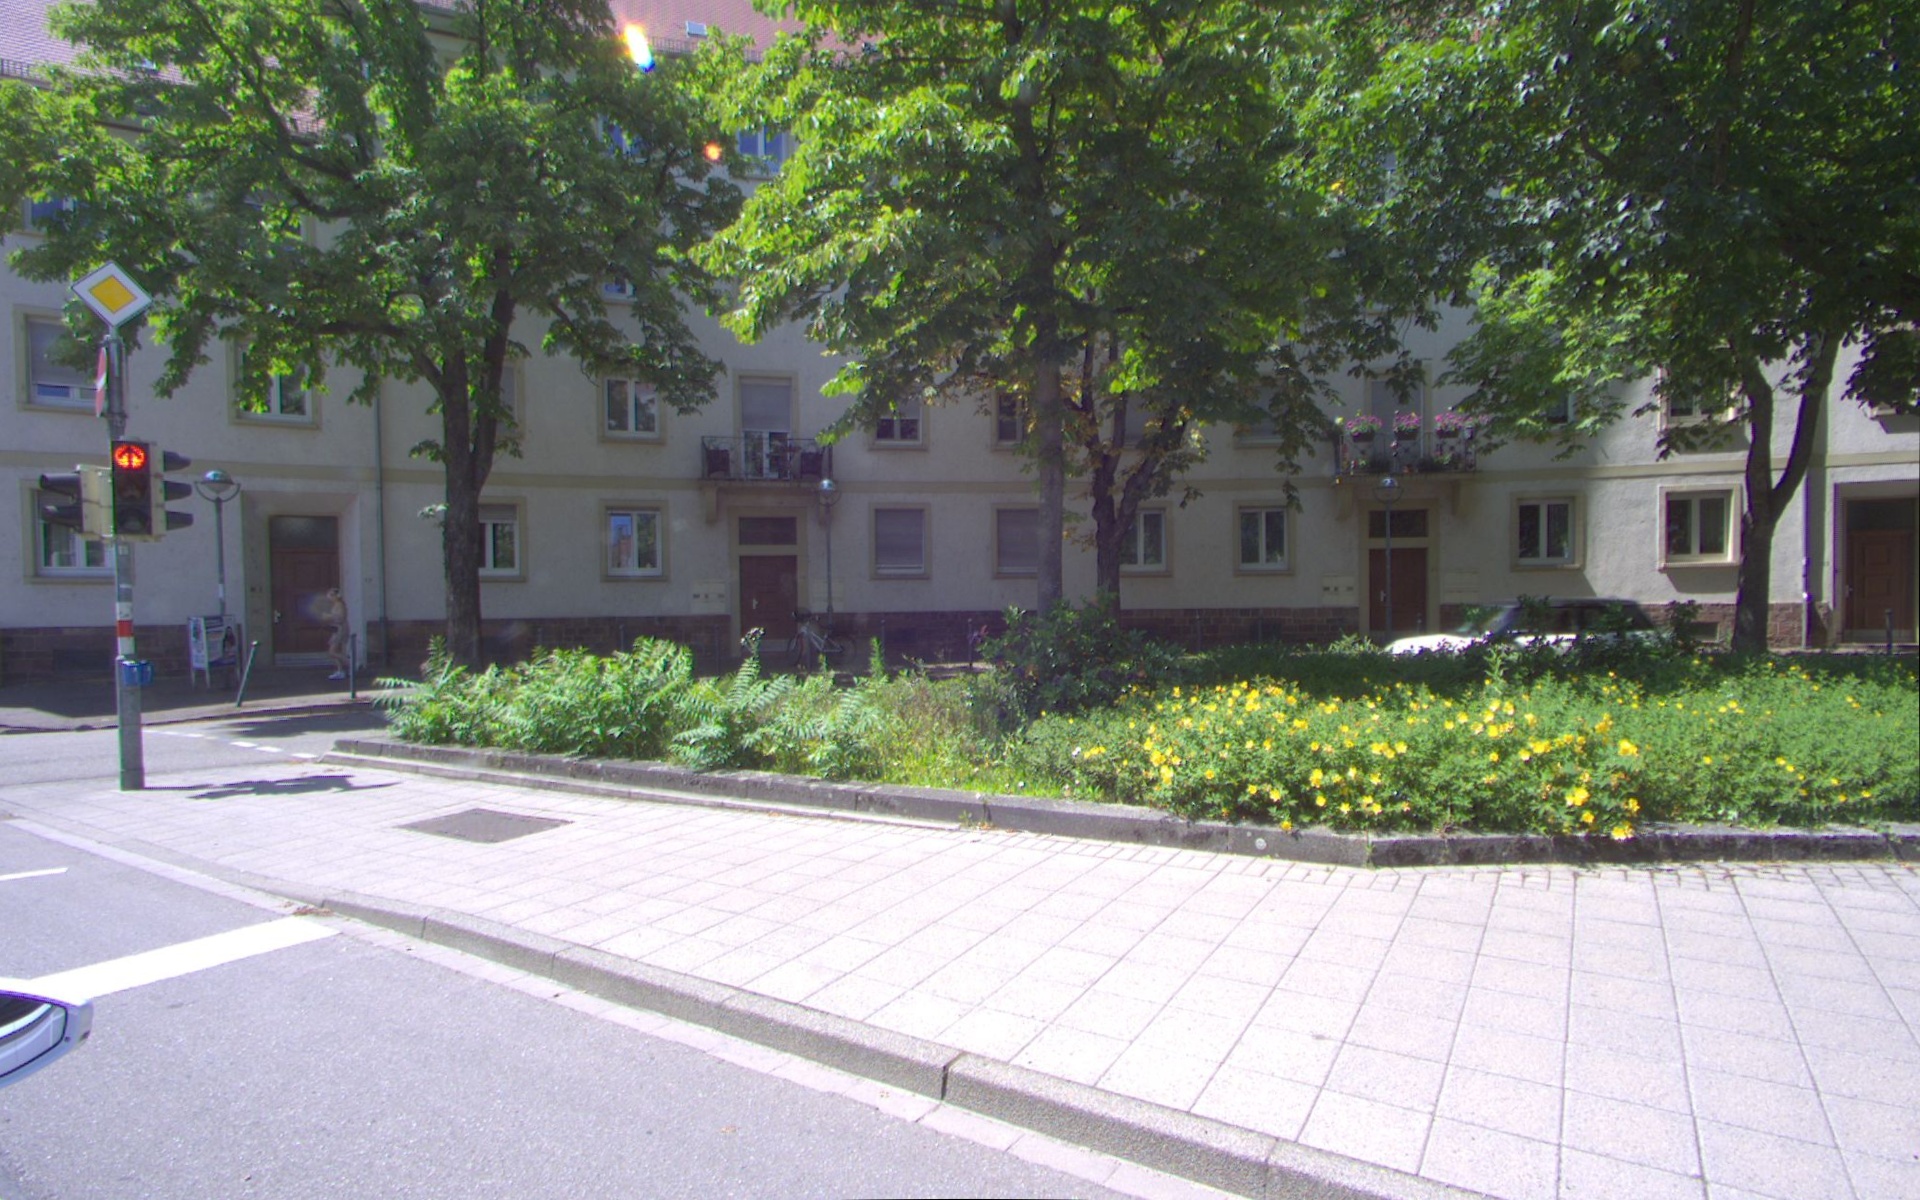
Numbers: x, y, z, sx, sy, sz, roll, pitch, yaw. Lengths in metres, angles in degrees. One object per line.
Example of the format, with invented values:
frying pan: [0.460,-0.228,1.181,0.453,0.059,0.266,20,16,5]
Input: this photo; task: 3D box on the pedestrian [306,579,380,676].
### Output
pedestrian: [-11.626,0.498,18.896,1.041,1.715,0.649,-4,7,-30]

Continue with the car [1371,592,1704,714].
car: [7.751,0.670,13.782,3.582,1.526,1.704,0,0,11]

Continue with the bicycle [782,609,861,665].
bicycle: [-2.876,0.757,20.866,1.575,1.119,0.525,-1,1,-4]
